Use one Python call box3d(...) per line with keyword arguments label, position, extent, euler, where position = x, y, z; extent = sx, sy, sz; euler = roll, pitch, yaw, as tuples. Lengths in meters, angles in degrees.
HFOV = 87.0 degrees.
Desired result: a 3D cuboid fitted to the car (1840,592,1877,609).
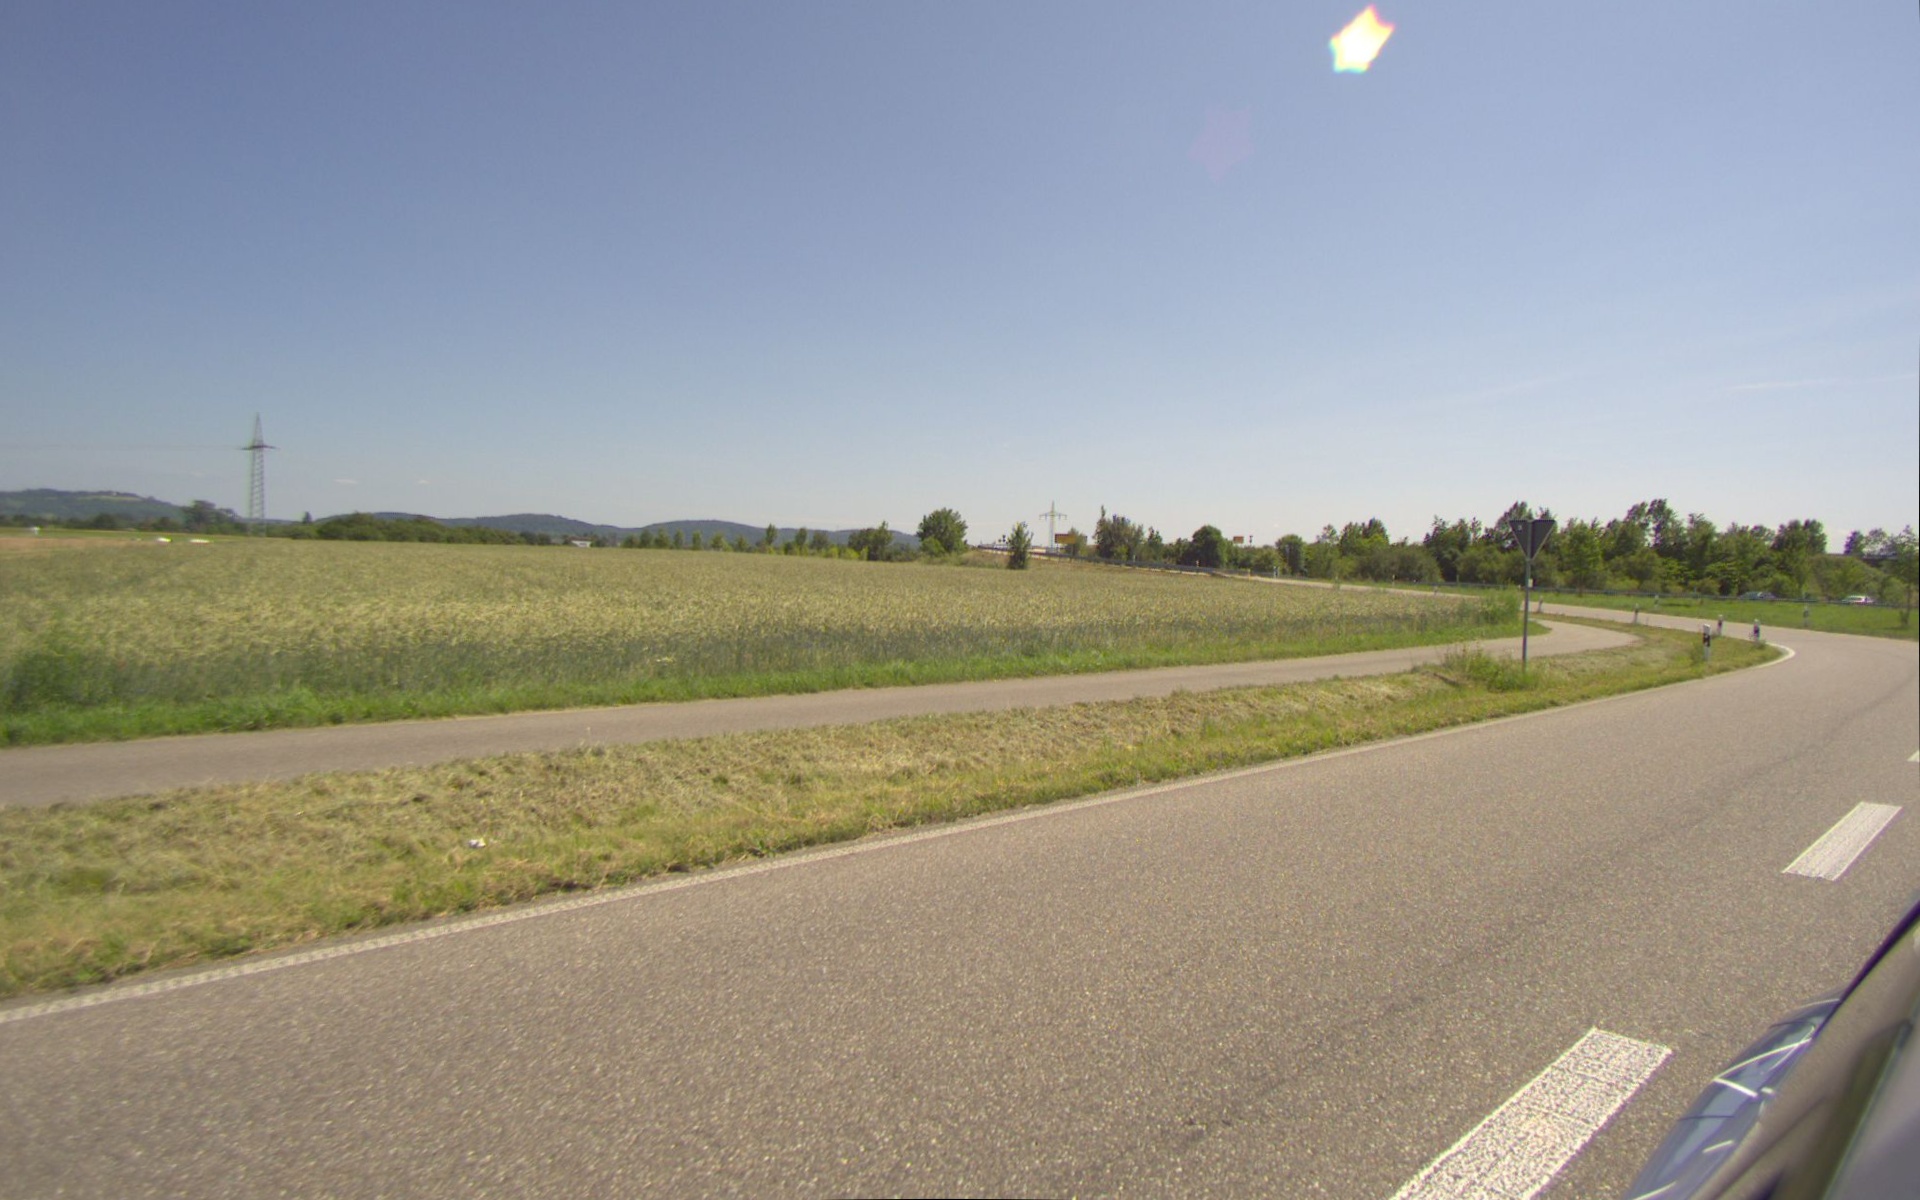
box3d(label="car", position=(91.715, 0.043, 103.298), extent=(3.925, 1.705, 2.000), euler=(0, 2, -36))
